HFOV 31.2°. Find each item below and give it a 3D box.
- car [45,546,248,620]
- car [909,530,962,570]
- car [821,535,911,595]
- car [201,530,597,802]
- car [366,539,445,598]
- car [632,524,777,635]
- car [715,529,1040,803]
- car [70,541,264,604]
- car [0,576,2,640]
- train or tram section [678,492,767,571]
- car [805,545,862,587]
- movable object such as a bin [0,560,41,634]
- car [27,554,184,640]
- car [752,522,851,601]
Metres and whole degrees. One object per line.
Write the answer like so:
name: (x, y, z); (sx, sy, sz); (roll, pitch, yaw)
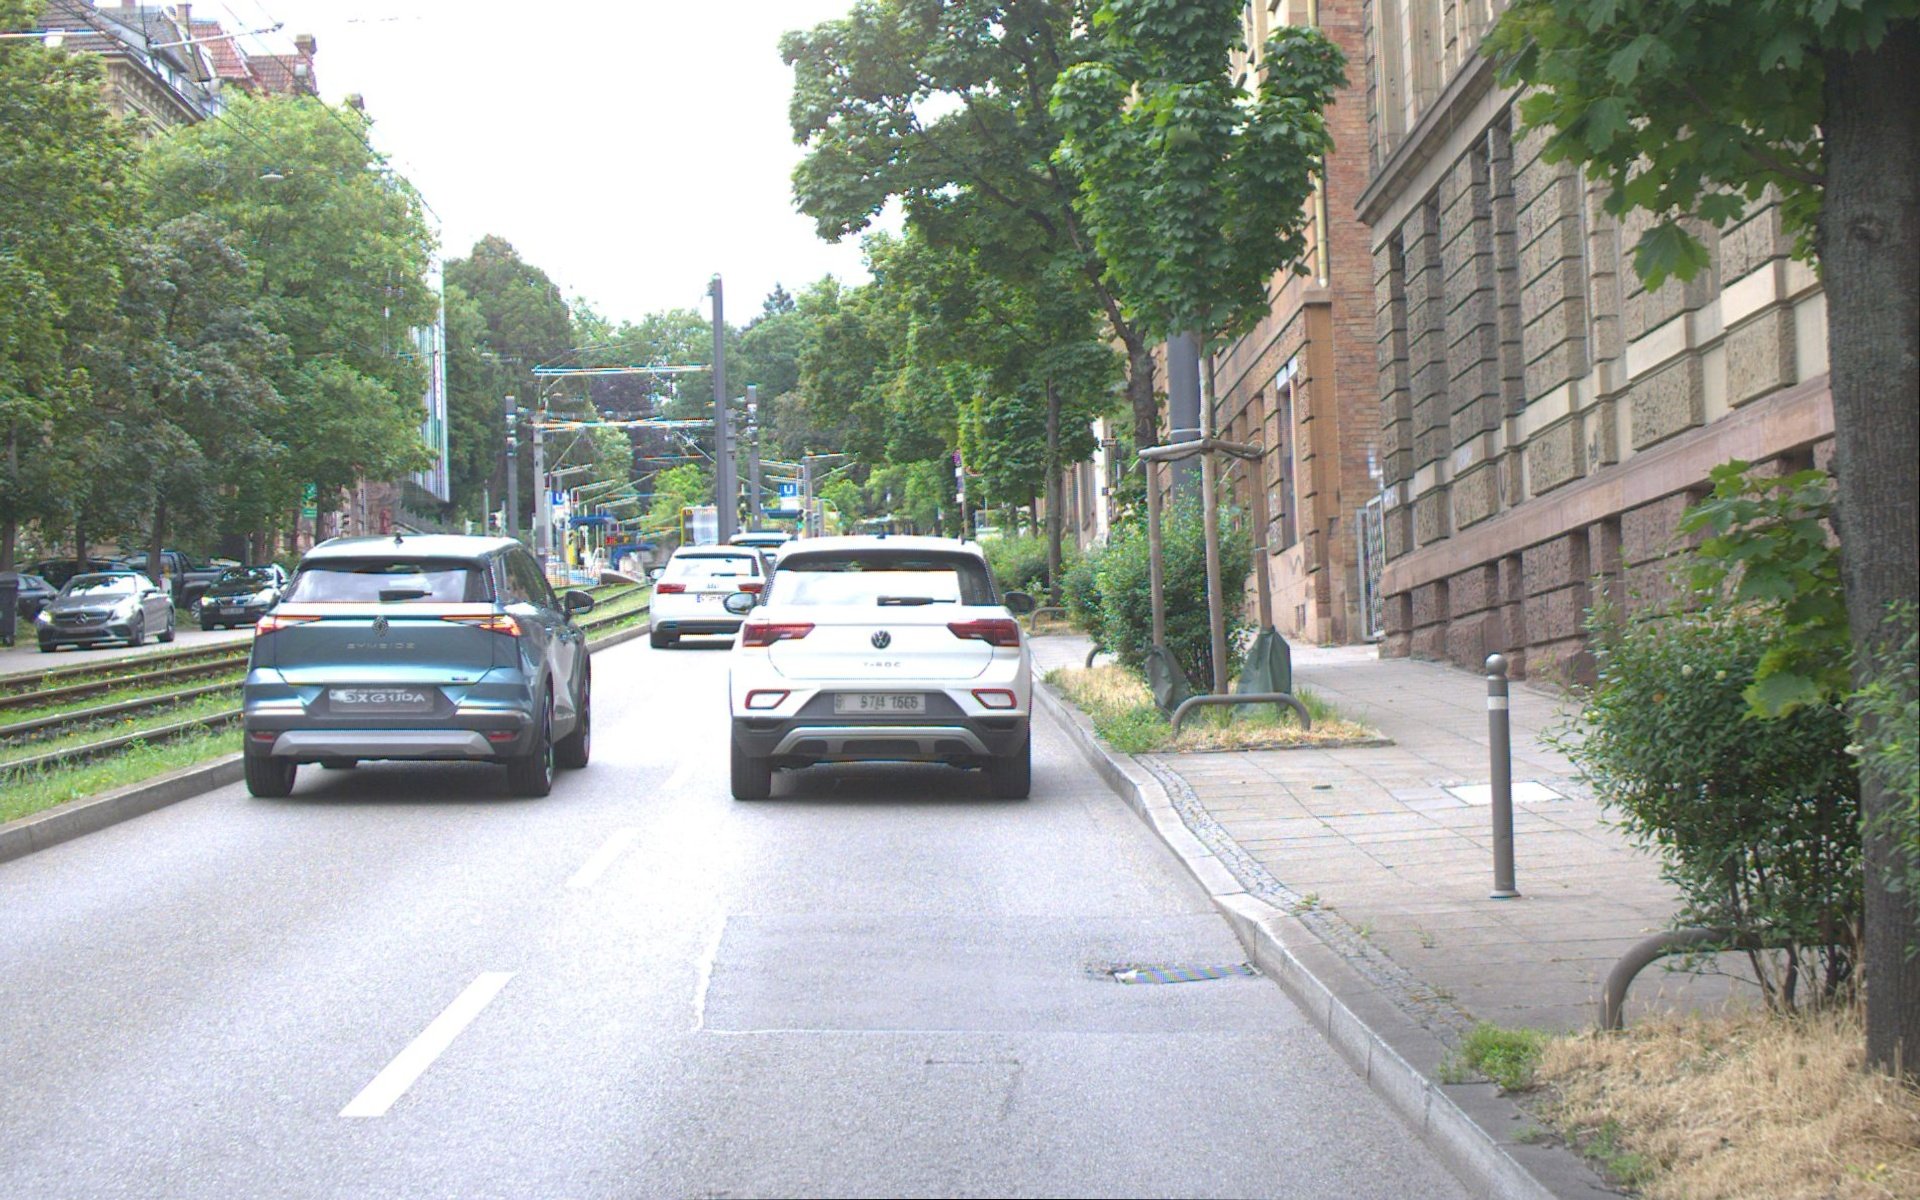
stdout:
car: (-20.033, -0.437, 84.800); (1.935, 1.791, 4.596); (1, 1, 43)
car: (-0.970, -1.979, 135.513); (2.068, 1.541, 4.194); (0, 1, -1)
car: (-2.486, -0.926, 89.897); (2.068, 1.541, 4.194); (0, 1, -5)
car: (-3.406, 0.347, 21.606); (1.835, 1.541, 4.194); (0, 1, -1)
car: (-14.776, -0.857, 91.727); (1.588, 1.430, 3.413); (-3, 1, -2)
car: (-3.685, -0.314, 50.138); (1.835, 1.541, 4.194); (0, 1, -1)
car: (-0.529, 0.342, 21.481); (1.835, 1.541, 4.194); (0, 1, -2)
car: (-20.921, -0.732, 90.774); (4.593, 1.612, 1.936); (0, 1, -34)
car: (-19.913, -0.102, 63.039); (4.177, 1.830, 1.872); (-2, 1, -27)
train or tram section: (-10.643, -3.073, 155.379); (2.996, 3.337, 13.439); (-1, 1, 0)
car: (-4.736, -1.287, 128.641); (2.068, 1.541, 4.194); (0, 1, -2)
movable object such as a bin: (-18.379, -0.058, 66.208); (1.274, 1.396, 1.097); (-1, 1, -16)
car: (-15.643, -0.085, 63.180); (1.724, 1.405, 4.598); (-3, 1, -1)
car: (-3.184, -0.782, 69.660); (1.835, 1.541, 4.194); (0, 1, -1)
